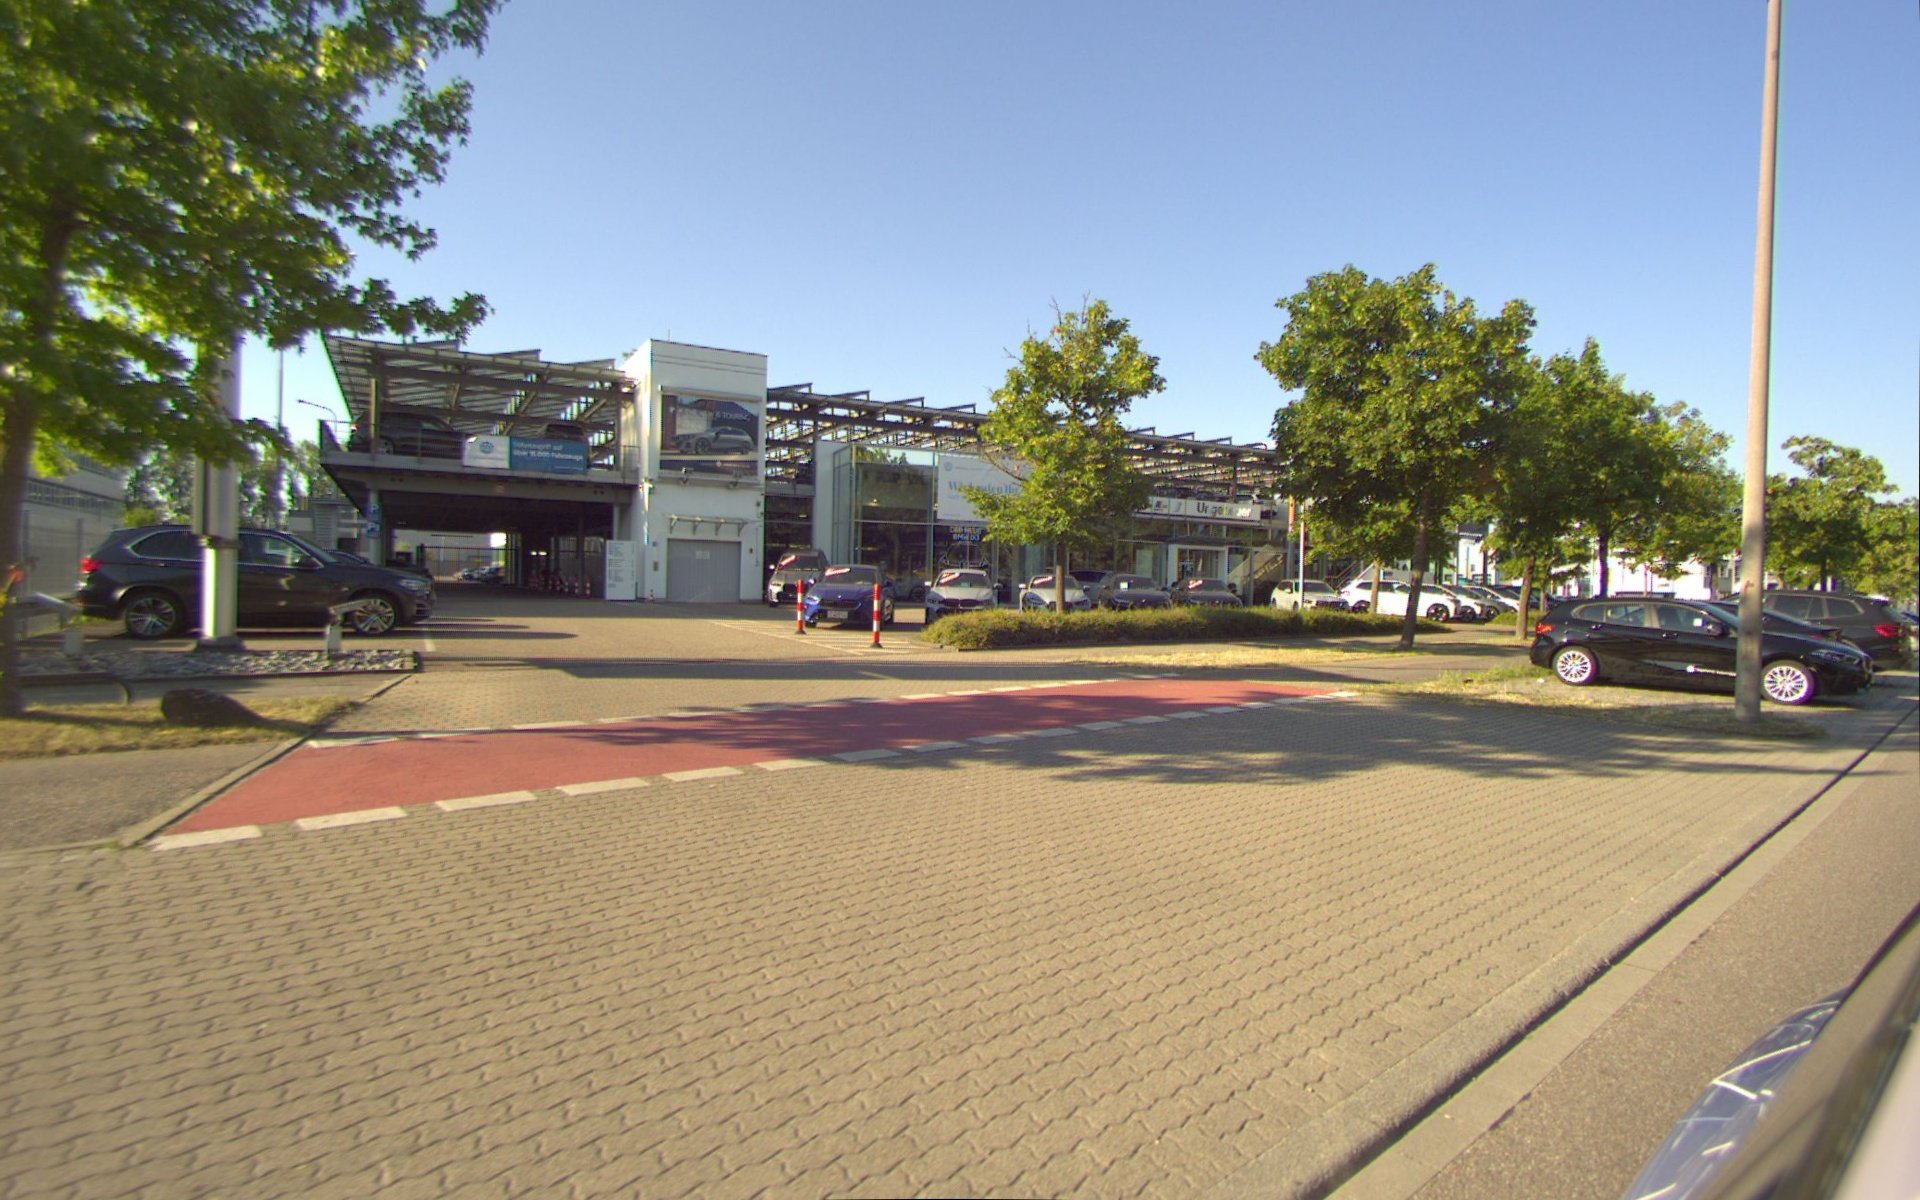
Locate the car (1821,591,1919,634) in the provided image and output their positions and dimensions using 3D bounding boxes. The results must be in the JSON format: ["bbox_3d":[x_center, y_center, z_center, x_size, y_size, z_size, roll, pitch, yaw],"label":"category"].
[{"bbox_3d":[39.272,0.528,42.509,4.592,1.604,1.968,5,3,44],"label":"car"}]

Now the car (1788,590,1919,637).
[{"bbox_3d":[34.007,0.494,37.700,1.967,1.474,4.631,0,3,-43],"label":"car"}]

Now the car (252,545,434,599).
[{"bbox_3d":[-18.245,-0.818,30.213,4.467,1.473,2.041,1,1,-28],"label":"car"}]

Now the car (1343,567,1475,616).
[{"bbox_3d":[18.306,-0.387,41.563,4.671,1.711,2.396,3,2,20],"label":"car"}]

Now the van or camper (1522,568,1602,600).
[{"bbox_3d":[66.803,-1.816,112.510,2.363,3.370,8.158,1,2,-17],"label":"van or camper"}]

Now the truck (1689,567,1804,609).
[{"bbox_3d":[70.434,-1.160,90.870,3.052,3.565,8.267,1,2,-7],"label":"truck"}]

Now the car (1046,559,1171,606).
[{"bbox_3d":[6.154,-0.753,42.050,4.751,1.796,1.978,2,2,31],"label":"car"}]

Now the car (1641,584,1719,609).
[{"bbox_3d":[50.442,-0.263,70.953,1.958,1.598,4.008,1,2,-24],"label":"car"}]

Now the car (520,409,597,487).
[{"bbox_3d":[-14.922,-5.536,37.470,1.960,2.129,4.204,1,-1,-31],"label":"car"}]

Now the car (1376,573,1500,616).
[{"bbox_3d":[20.433,-0.277,43.467,4.549,1.593,1.987,3,2,20],"label":"car"}]

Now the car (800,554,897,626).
[{"bbox_3d":[-2.537,-0.298,24.074,1.961,1.482,4.793,2,2,-3],"label":"car"}]

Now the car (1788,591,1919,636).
[{"bbox_3d":[35.659,0.519,39.919,1.967,1.497,4.382,0,3,-43],"label":"car"}]

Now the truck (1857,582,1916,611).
[{"bbox_3d":[96.267,-0.362,105.167,5.849,2.754,2.551,1,1,-27],"label":"truck"}]

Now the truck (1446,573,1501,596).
[{"bbox_3d":[71.589,-2.169,141.121,6.965,2.942,2.004,1,1,-12],"label":"truck"}]

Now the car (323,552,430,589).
[{"bbox_3d":[-28.622,-1.432,49.685,4.471,1.694,2.040,1,1,-33],"label":"car"}]

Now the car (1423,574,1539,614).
[{"bbox_3d":[24.514,-0.324,47.794,4.549,1.593,1.987,3,2,20],"label":"car"}]

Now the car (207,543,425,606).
[{"bbox_3d":[-16.099,-0.629,25.625,4.467,1.450,2.041,1,1,-28],"label":"car"}]

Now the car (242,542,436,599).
[{"bbox_3d":[-17.210,-0.808,28.341,4.467,1.450,2.041,1,1,-28],"label":"car"}]

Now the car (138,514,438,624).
[{"bbox_3d":[-12.327,-0.533,18.991,4.467,1.850,2.041,1,1,-28],"label":"car"}]

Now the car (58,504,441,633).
[{"bbox_3d":[-11.258,-0.460,16.582,4.874,1.850,2.041,1,1,-28],"label":"car"}]

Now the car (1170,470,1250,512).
[{"bbox_3d":[12.970,-5.630,52.739,1.751,1.688,4.003,1,-1,-30],"label":"car"}]

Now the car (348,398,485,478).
[{"bbox_3d":[-19.017,-5.590,35.445,4.118,2.129,2.001,1,-1,-32],"label":"car"}]

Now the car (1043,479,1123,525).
[{"bbox_3d":[5.852,-4.663,48.653,1.751,1.688,4.003,1,-1,-30],"label":"car"}]

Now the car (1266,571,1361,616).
[{"bbox_3d":[13.562,-0.316,39.176,1.963,1.591,5.190,1,2,2],"label":"car"}]

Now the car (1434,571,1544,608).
[{"bbox_3d":[26.282,-0.576,50.446,4.549,1.593,1.987,3,2,20],"label":"car"}]

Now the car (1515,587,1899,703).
[{"bbox_3d":[11.370,0.562,15.645,2.000,1.421,4.486,0,2,-43],"label":"car"}]

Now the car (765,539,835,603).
[{"bbox_3d":[-5.549,-1.008,35.603,1.961,2.038,4.186,1,1,-3],"label":"car"}]

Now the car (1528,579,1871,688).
[{"bbox_3d":[12.703,0.473,17.618,1.998,1.570,4.489,0,1,-42],"label":"car"}]

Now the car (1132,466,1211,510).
[{"bbox_3d":[10.714,-5.662,51.480,1.751,1.688,4.003,1,-1,-30],"label":"car"}]

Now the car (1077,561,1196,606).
[{"bbox_3d":[7.755,-0.759,44.629,4.751,1.796,1.978,2,2,31],"label":"car"}]

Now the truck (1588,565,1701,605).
[{"bbox_3d":[67.995,-1.590,100.883,3.228,3.689,10.138,1,2,-9],"label":"truck"}]

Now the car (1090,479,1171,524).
[{"bbox_3d":[8.300,-4.761,49.486,1.751,1.688,4.003,1,-1,-30],"label":"car"}]

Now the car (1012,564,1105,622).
[{"bbox_3d":[2.698,-0.263,28.918,1.961,1.482,4.793,1,2,-3],"label":"car"}]

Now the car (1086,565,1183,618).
[{"bbox_3d":[5.338,-0.323,31.639,1.961,1.482,4.793,1,2,-3],"label":"car"}]

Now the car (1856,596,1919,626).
[{"bbox_3d":[53.143,0.644,56.763,2.054,1.461,4.202,0,3,-45],"label":"car"}]

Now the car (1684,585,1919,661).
[{"bbox_3d":[20.981,0.507,25.014,1.967,1.497,4.701,0,3,-43],"label":"car"}]

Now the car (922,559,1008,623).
[{"bbox_3d":[0.122,-0.285,26.461,2.008,1.482,4.790,1,2,0],"label":"car"}]

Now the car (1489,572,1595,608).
[{"bbox_3d":[31.247,-0.564,54.502,4.550,1.687,1.987,3,2,21],"label":"car"}]

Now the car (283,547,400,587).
[{"bbox_3d":[-28.405,-1.482,46.576,4.471,1.694,2.040,1,1,-33],"label":"car"}]

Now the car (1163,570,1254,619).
[{"bbox_3d":[8.279,-0.256,34.137,1.963,1.482,4.788,1,2,2],"label":"car"}]

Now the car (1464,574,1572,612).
[{"bbox_3d":[28.763,-0.410,52.331,4.549,1.687,1.987,3,2,20],"label":"car"}]

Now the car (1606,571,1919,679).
[{"bbox_3d":[15.511,0.366,19.509,2.152,1.773,4.707,1,1,-39],"label":"car"}]

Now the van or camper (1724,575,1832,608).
[{"bbox_3d":[79.135,-0.922,98.184,2.881,2.936,8.029,1,2,-12],"label":"van or camper"}]

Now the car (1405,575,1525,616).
[{"bbox_3d":[22.642,-0.241,45.595,4.549,1.593,1.987,3,2,20],"label":"car"}]
